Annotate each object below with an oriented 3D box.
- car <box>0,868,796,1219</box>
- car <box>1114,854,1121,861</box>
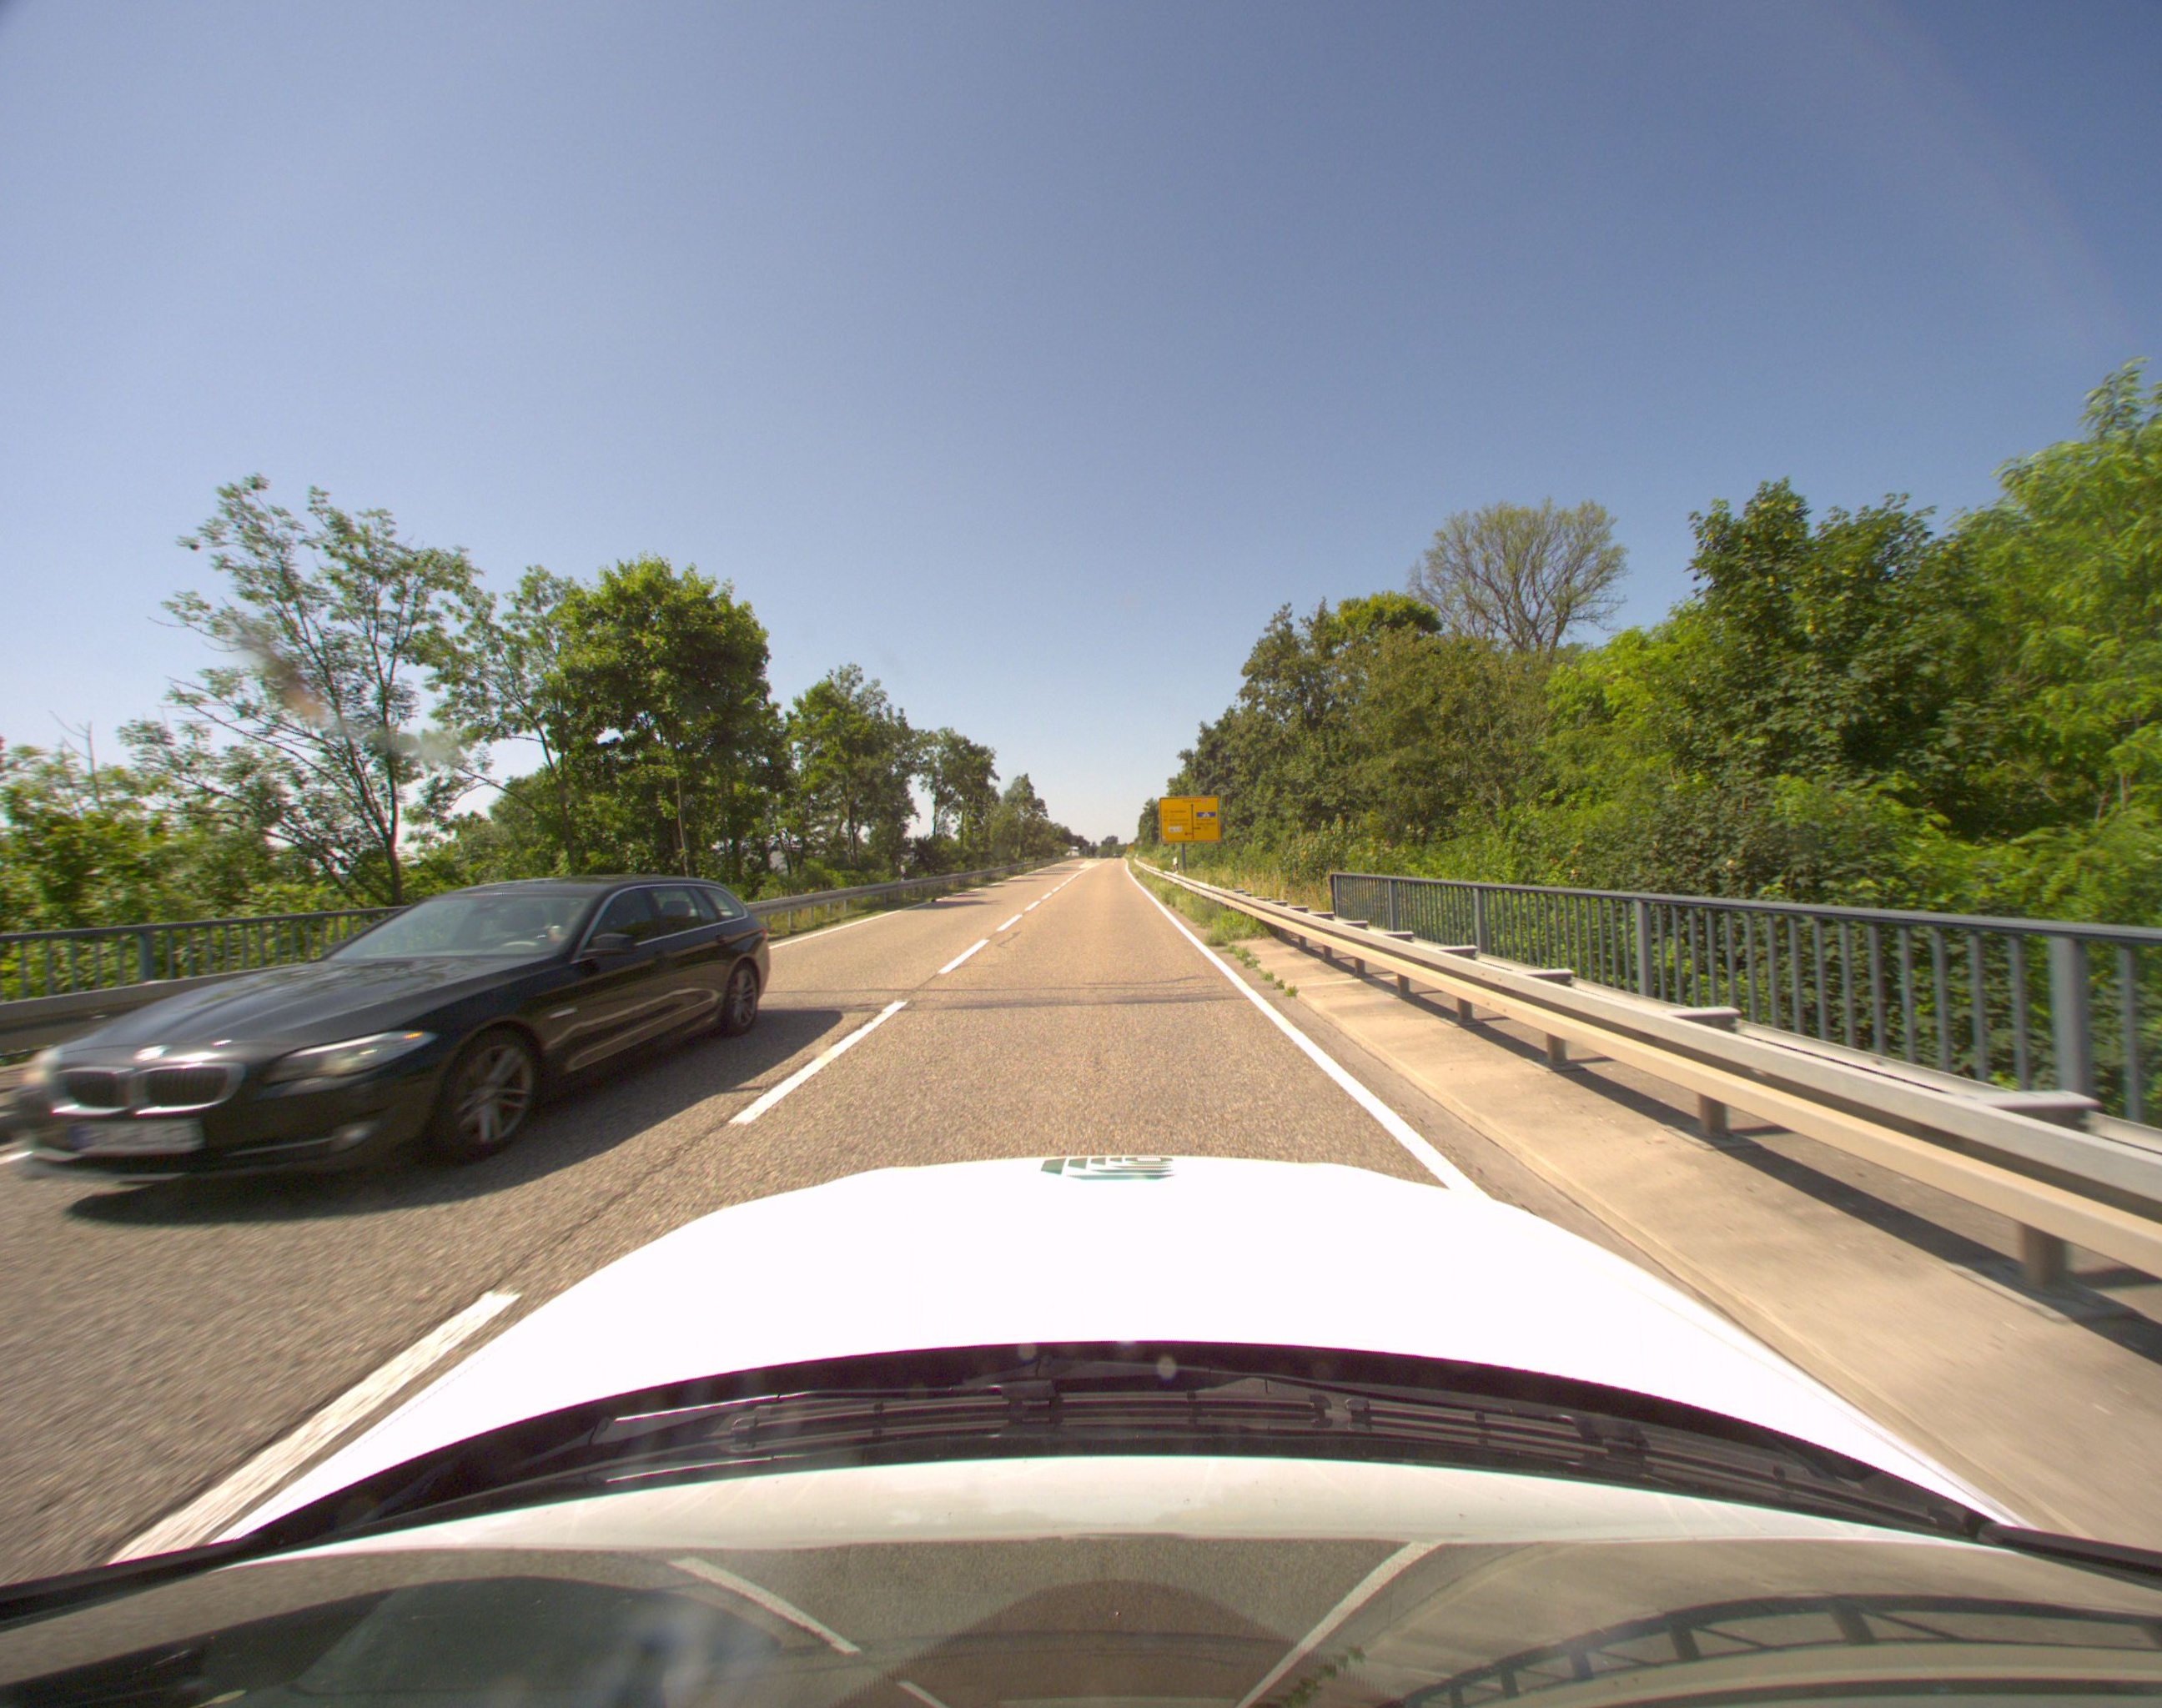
[{"bbox_3d":[-3.840,0.869,5.891,1.739,1.425,4.679,-2,0,2],"label":"car"},{"bbox_3d":[8.791,0.865,197.818,1.734,1.470,3.695,-1,0,2],"label":"car"}]
